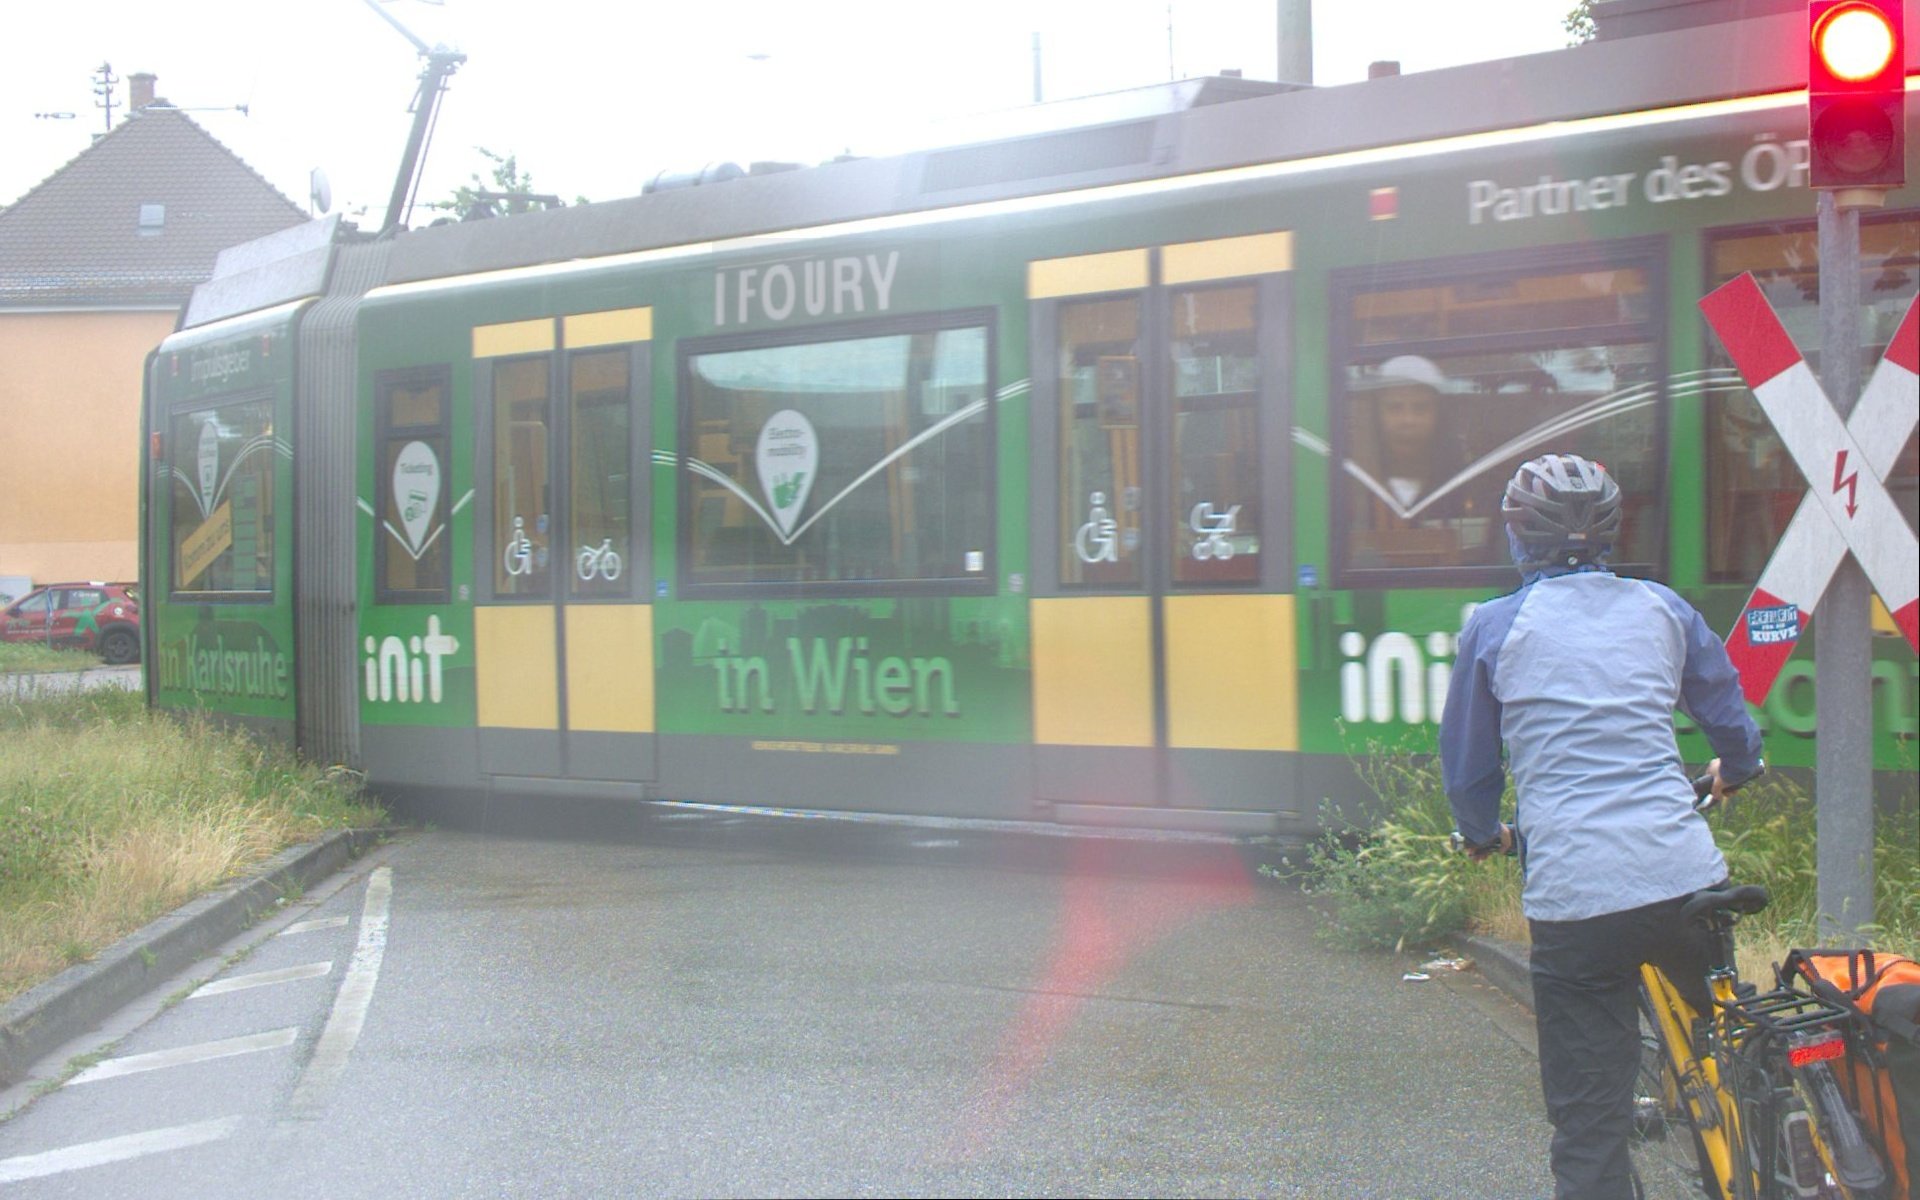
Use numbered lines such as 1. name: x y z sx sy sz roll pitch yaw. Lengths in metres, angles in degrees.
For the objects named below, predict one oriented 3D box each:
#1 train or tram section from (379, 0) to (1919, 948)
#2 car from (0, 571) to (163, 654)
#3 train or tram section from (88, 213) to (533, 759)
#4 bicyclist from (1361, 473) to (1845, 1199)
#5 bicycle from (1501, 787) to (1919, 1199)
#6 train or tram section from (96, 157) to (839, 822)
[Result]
1. train or tram section: 2.053 -0.627 14.783 2.762 3.541 12.197 -2 1 -42
2. car: -16.664 0.204 62.607 3.986 1.451 1.834 1 0 -6
3. train or tram section: -5.862 -0.828 28.965 2.760 3.541 13.137 -1 1 -14
4. bicyclist: 1.122 0.600 6.164 0.667 1.620 0.853 1 0 -2
5. bicycle: 1.344 0.902 6.079 0.446 1.001 1.728 -1 1 -2
6. train or tram section: -3.183 -0.624 21.158 2.760 3.541 4.988 -2 1 -30
